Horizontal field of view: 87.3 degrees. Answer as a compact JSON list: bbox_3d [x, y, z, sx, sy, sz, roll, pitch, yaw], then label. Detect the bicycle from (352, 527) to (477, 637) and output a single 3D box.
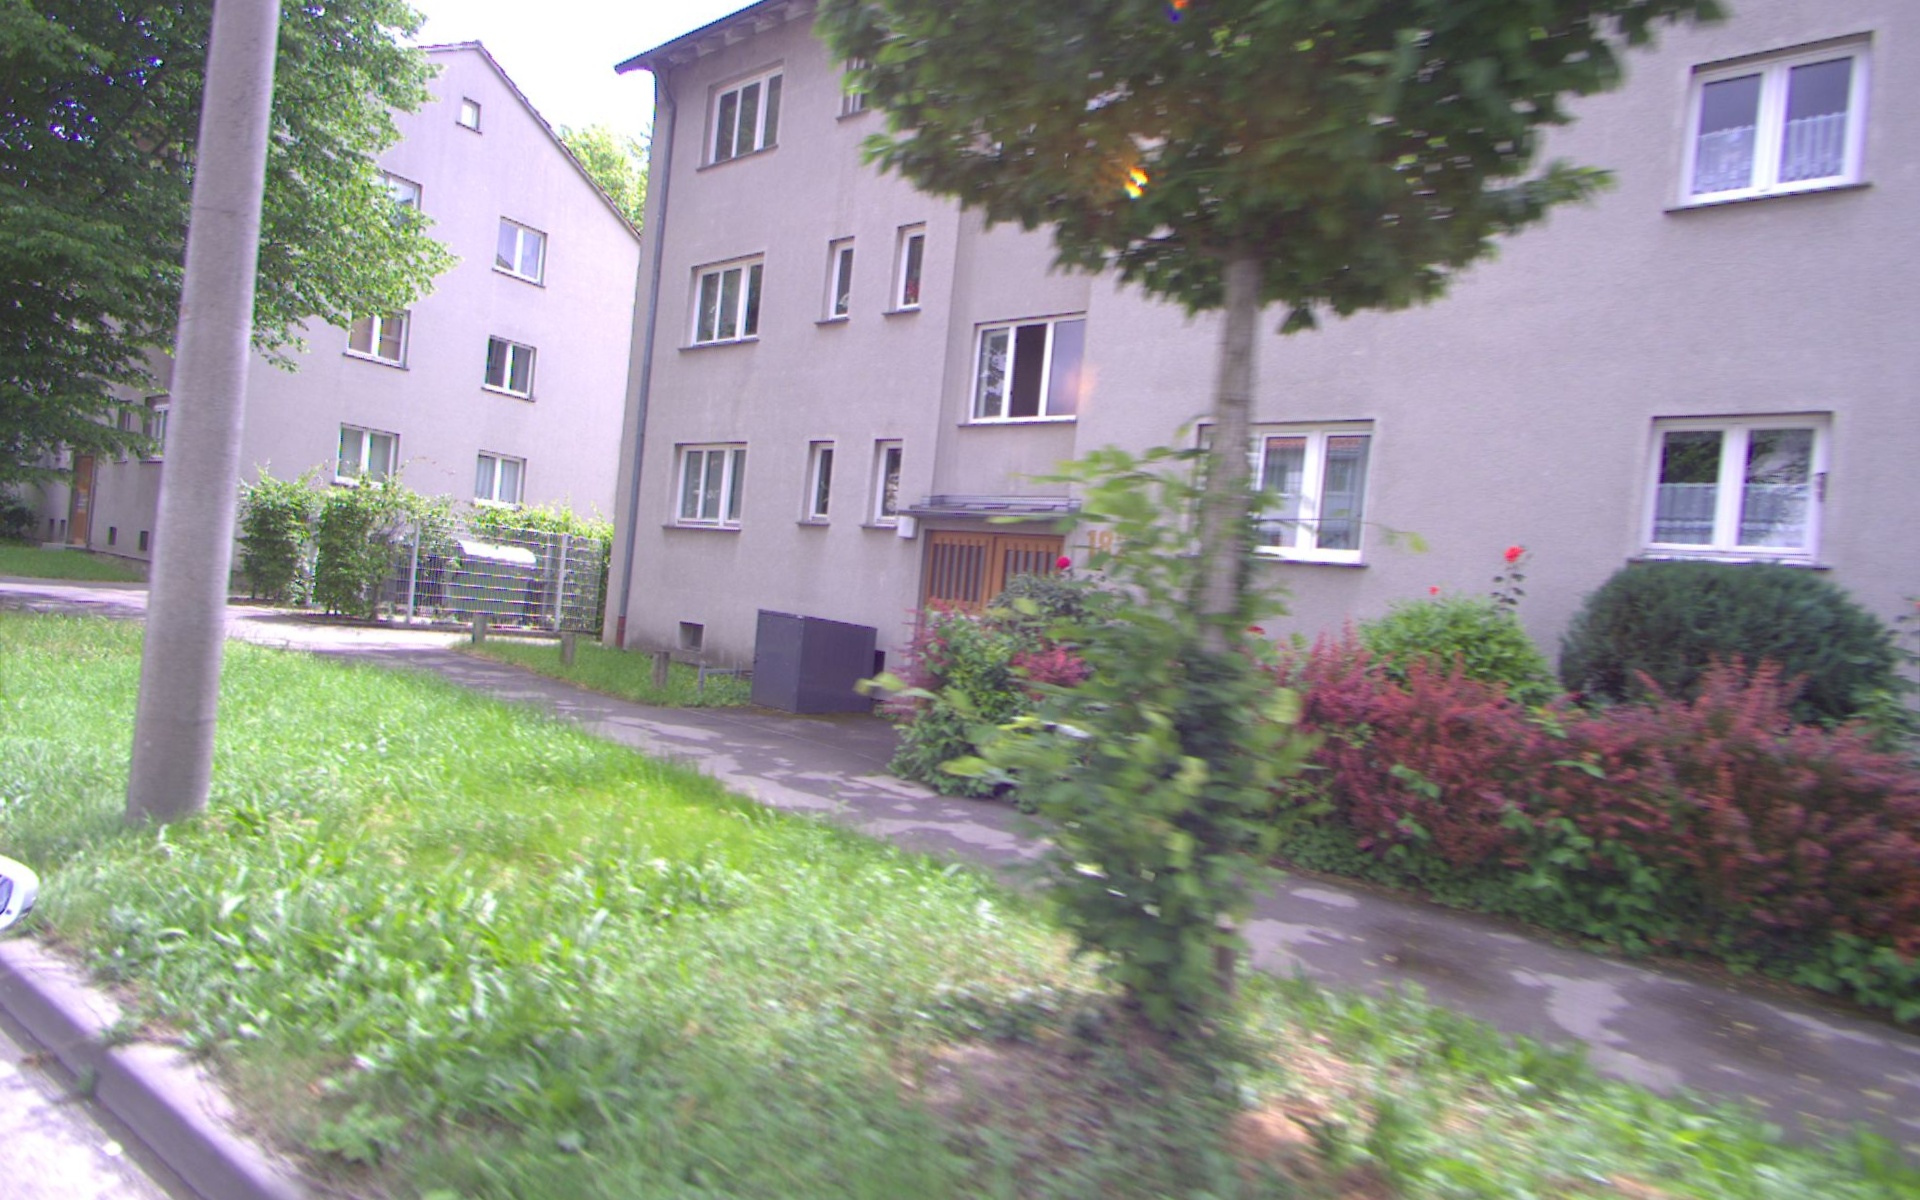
[{"bbox_3d":[-8.839,-0.272,16.328,1.055,1.594,1.348,7,1,34],"label":"bicycle"}]
